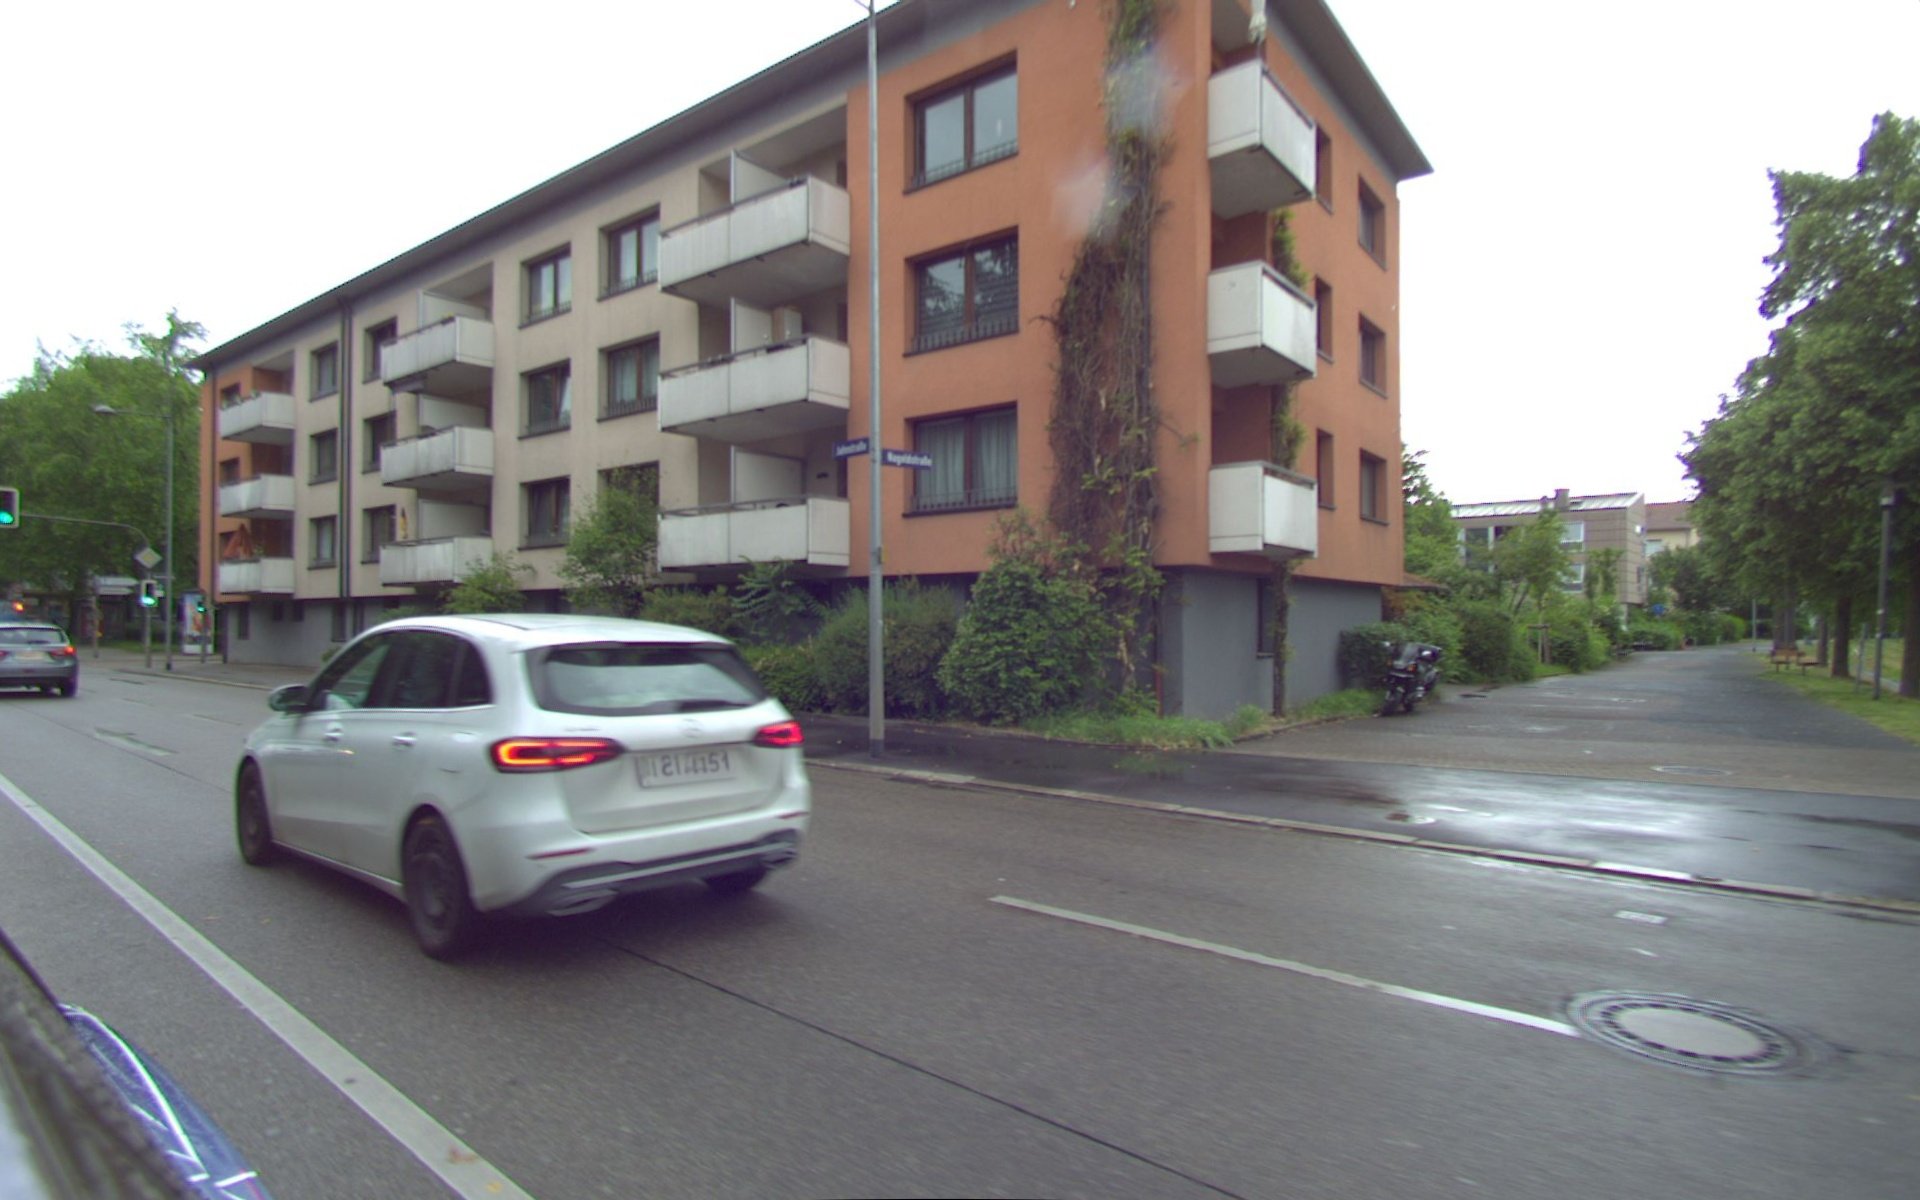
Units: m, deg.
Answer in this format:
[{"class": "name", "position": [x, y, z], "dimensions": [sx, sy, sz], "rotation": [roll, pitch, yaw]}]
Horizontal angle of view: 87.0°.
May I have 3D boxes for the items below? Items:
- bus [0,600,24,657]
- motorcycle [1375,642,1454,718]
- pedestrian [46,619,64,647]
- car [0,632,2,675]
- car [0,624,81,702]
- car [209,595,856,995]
[{"class": "bus", "position": [-54.992, 1.550, 56.528], "dimensions": [12.078, 2.962, 2.665], "rotation": [-1, -2, 41]}, {"class": "motorcycle", "position": [8.202, 1.403, 18.194], "dimensions": [0.780, 1.273, 2.371], "rotation": [-3, -4, 36]}, {"class": "pedestrian", "position": [-58.403, 2.131, 65.310], "dimensions": [0.687, 1.782, 0.702], "rotation": [-1, 1, 41]}, {"class": "car", "position": [-33.945, 1.801, 34.221], "dimensions": [4.045, 1.426, 1.794], "rotation": [-2, -3, 40]}, {"class": "car", "position": [-20.882, 1.348, 22.144], "dimensions": [4.228, 1.591, 1.795], "rotation": [-2, -3, 40]}, {"class": "car", "position": [-2.669, 0.816, 5.827], "dimensions": [4.164, 1.485, 1.763], "rotation": [-2, -3, 41]}]
